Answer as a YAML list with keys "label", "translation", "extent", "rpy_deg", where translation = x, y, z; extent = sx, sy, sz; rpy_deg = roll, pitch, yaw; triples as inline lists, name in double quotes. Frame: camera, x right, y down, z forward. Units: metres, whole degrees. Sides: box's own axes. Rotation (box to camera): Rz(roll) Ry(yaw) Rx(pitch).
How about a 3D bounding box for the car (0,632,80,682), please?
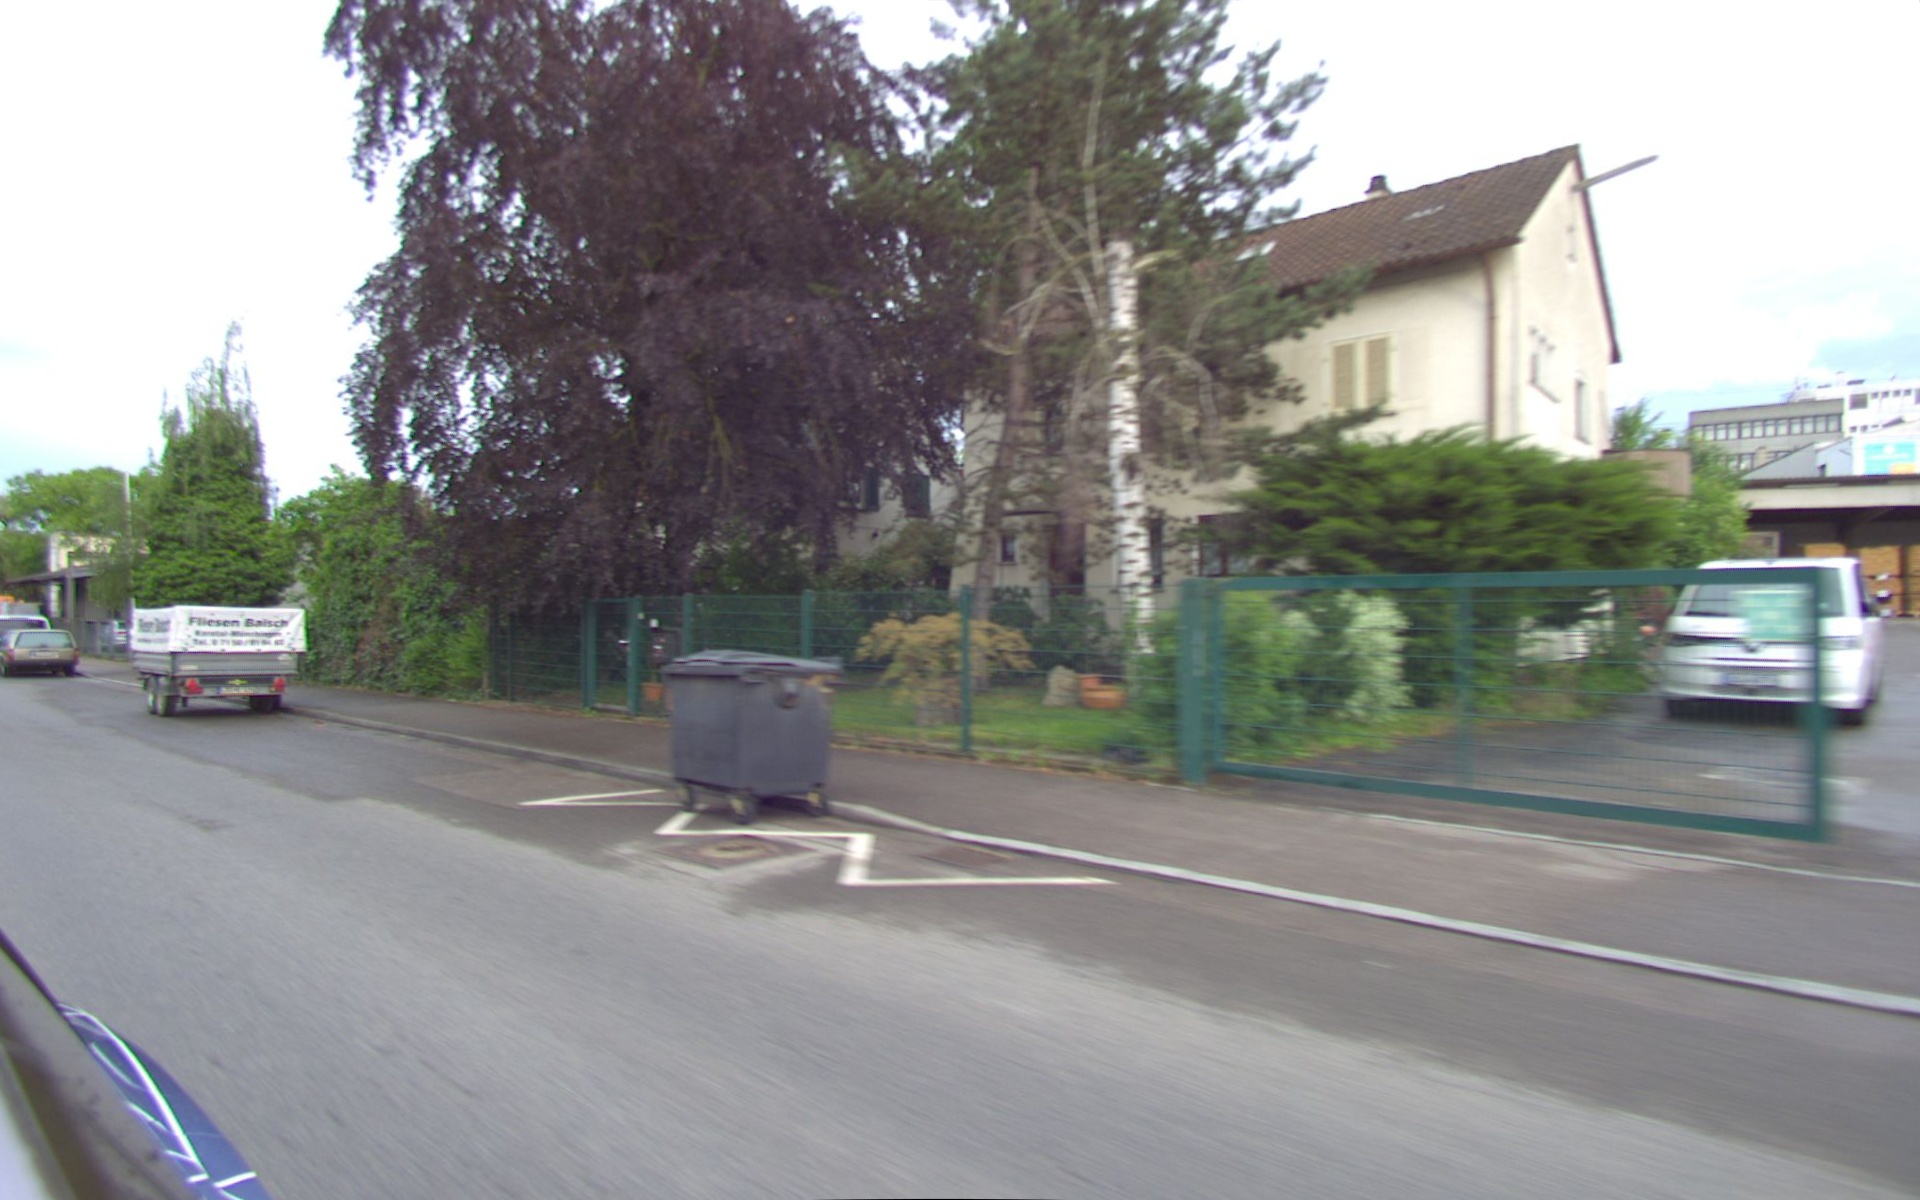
- label: "car"
  translation: [-29.093, 1.725, 31.604]
  extent: [4.979, 1.438, 1.797]
  rpy_deg: [-1, -2, 42]

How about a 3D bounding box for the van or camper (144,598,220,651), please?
- label: "van or camper"
  translation: [-39.498, 1.222, 51.325]
  extent: [5.194, 2.509, 1.973]
  rpy_deg: [-1, 0, 40]

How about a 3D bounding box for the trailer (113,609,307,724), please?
- label: "trailer"
  translation: [-13.503, 1.098, 18.119]
  extent: [4.546, 1.779, 1.909]
  rpy_deg: [-2, -1, 42]

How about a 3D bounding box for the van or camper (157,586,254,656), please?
- label: "van or camper"
  translation: [-35.122, 0.954, 47.047]
  extent: [6.146, 3.058, 2.280]
  rpy_deg: [-1, 0, 40]

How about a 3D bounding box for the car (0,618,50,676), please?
- label: "car"
  translation: [-33.238, 1.594, 35.128]
  extent: [5.208, 1.906, 1.873]
  rpy_deg: [-1, -2, 42]

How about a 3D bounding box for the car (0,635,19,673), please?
- label: "car"
  translation: [-37.836, 2.067, 39.123]
  extent: [4.705, 1.375, 1.621]
  rpy_deg: [-1, -2, 41]

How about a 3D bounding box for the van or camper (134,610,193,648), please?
- label: "van or camper"
  translation: [-44.286, 1.593, 56.261]
  extent: [4.373, 1.950, 1.901]
  rpy_deg: [-1, 0, 43]

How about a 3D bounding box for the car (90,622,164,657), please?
- label: "car"
  translation: [-38.361, 1.786, 46.565]
  extent: [4.785, 1.451, 1.810]
  rpy_deg: [-1, 0, 40]

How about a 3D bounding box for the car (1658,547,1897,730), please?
- label: "car"
  translation: [10.523, 0.366, 12.874]
  extent: [2.000, 1.871, 4.944]
  rpy_deg: [-1, 0, 43]

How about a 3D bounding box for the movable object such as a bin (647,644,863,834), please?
- label: "movable object such as a bin"
  translation: [-1.692, 1.060, 8.326]
  extent: [1.424, 1.320, 1.089]
  rpy_deg: [-1, 0, 41]
